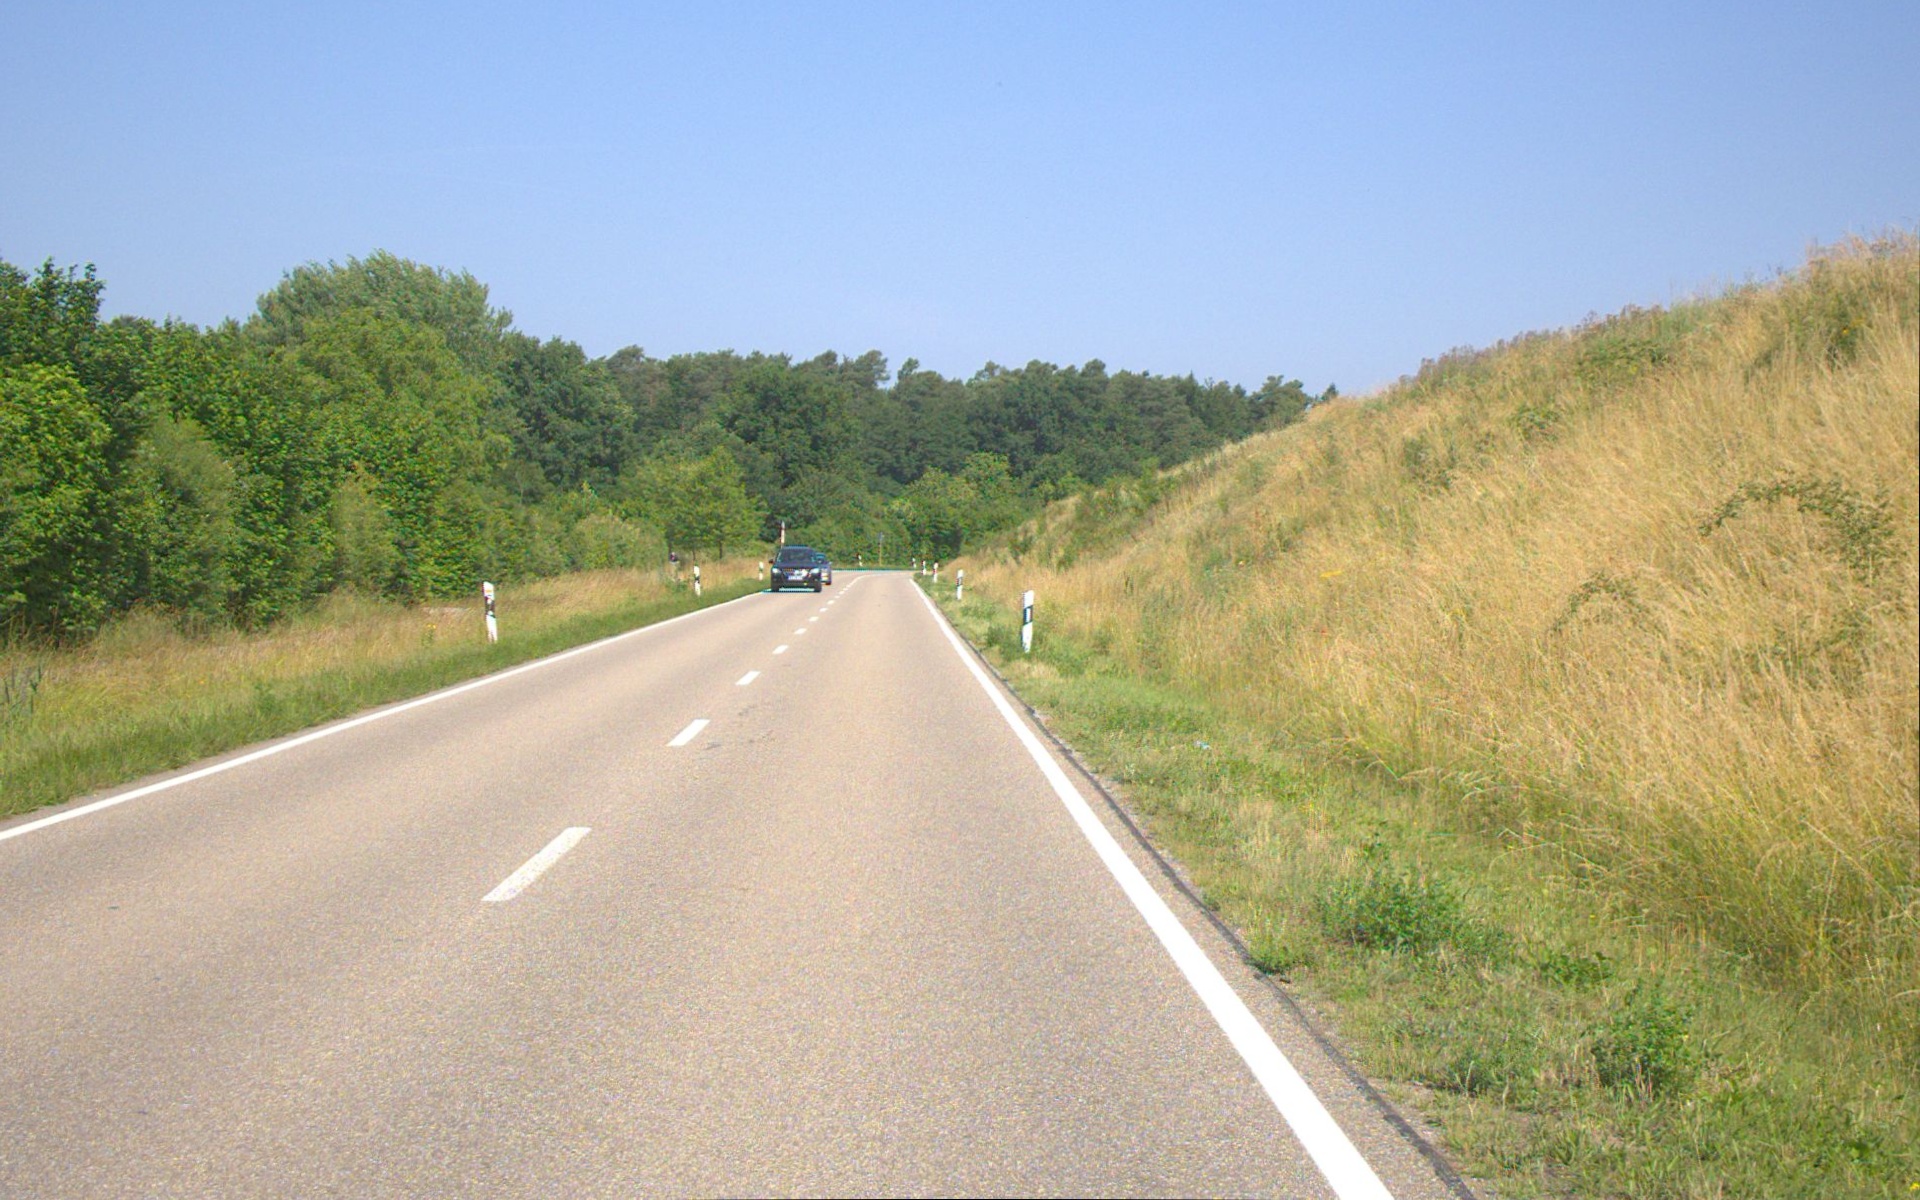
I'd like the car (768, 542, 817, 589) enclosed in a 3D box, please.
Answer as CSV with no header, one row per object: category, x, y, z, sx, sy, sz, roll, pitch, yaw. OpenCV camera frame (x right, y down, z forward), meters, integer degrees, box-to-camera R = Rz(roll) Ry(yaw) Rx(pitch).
car,-6.095,-1.267,125.449,1.716,1.641,3.915,1,1,-2
